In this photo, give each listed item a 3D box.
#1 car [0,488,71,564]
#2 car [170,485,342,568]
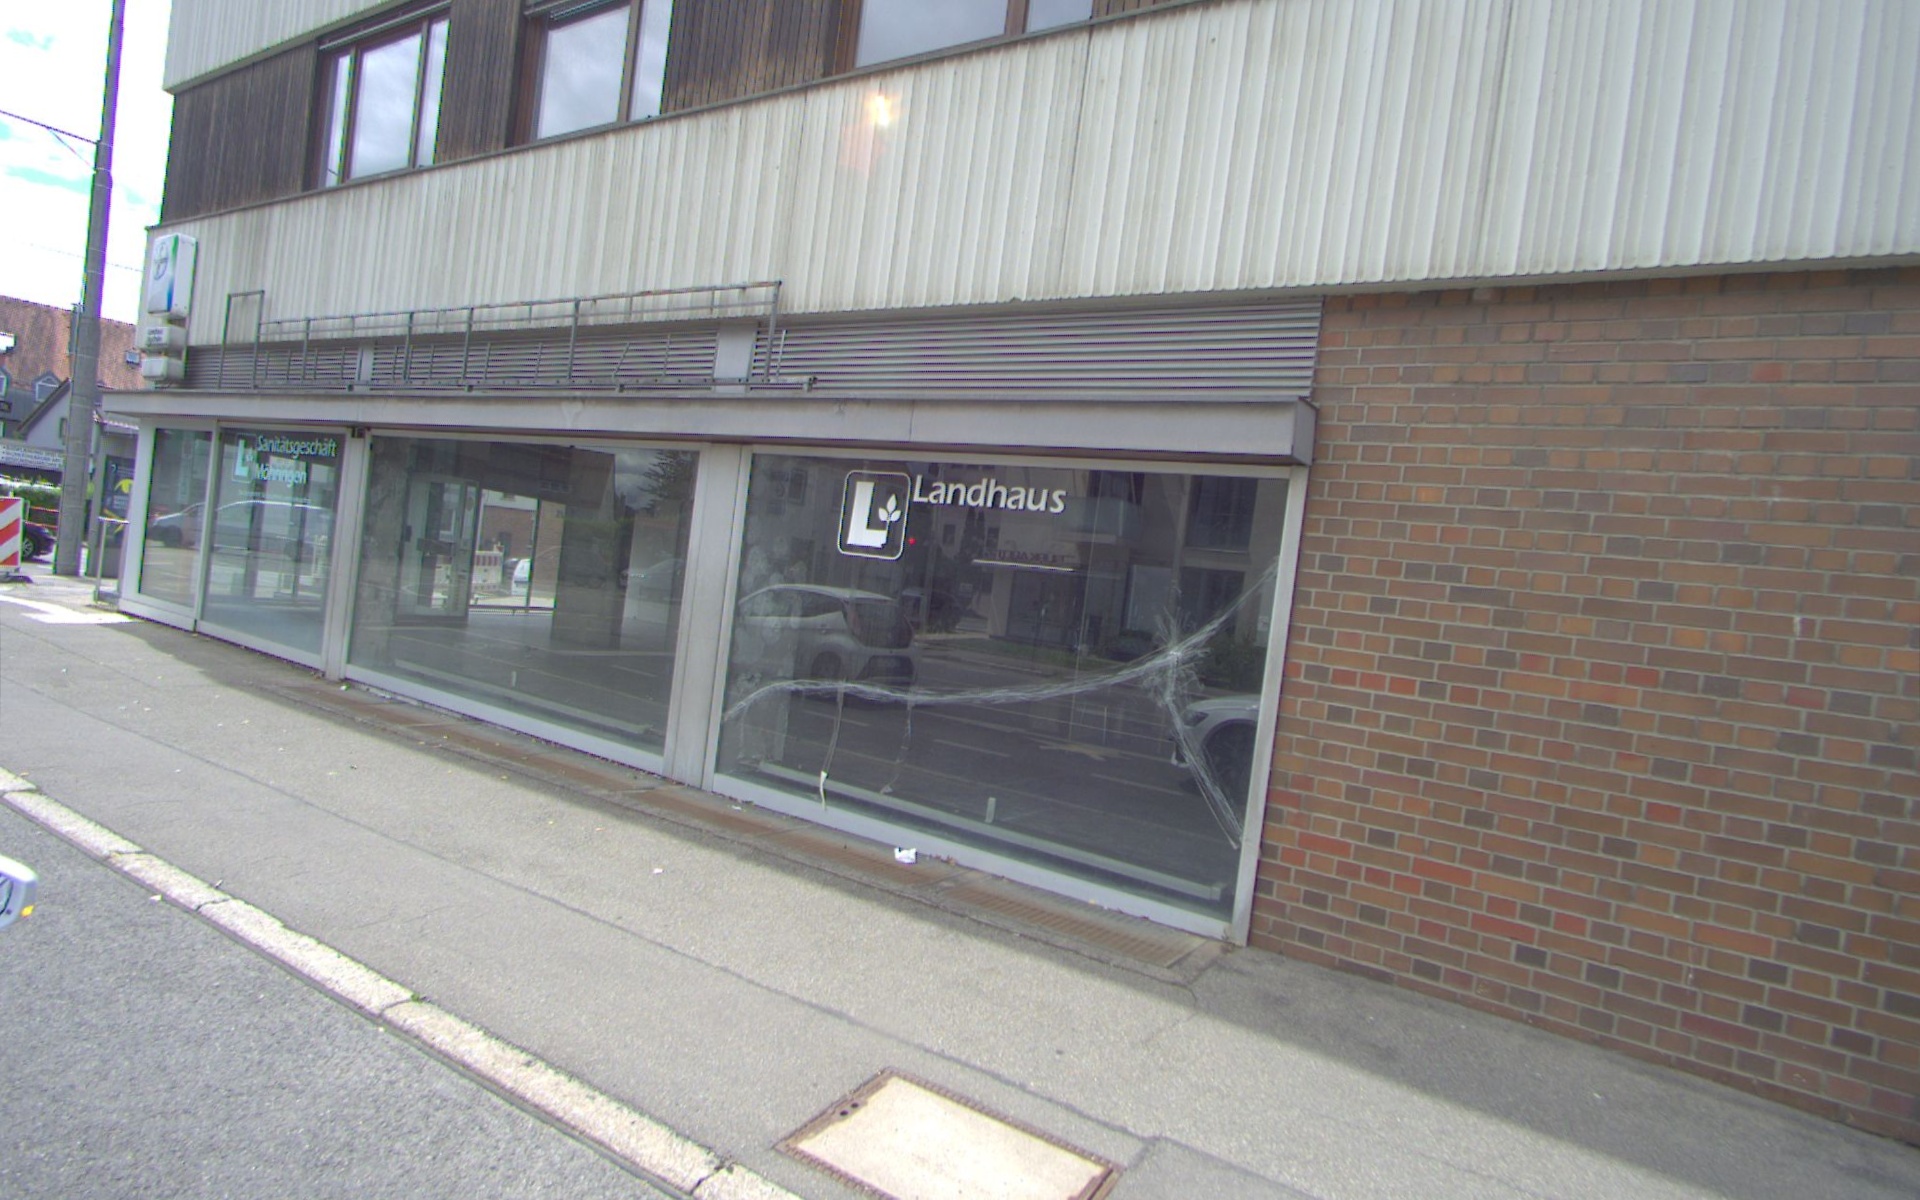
[{"bbox_3d":[-23.253,-1.964,22.234,1.964,1.595,4.913,7,-2,24],"label":"car"},{"bbox_3d":[-21.858,-2.225,31.462,3.954,1.859,1.987,9,-2,-27],"label":"car"}]
